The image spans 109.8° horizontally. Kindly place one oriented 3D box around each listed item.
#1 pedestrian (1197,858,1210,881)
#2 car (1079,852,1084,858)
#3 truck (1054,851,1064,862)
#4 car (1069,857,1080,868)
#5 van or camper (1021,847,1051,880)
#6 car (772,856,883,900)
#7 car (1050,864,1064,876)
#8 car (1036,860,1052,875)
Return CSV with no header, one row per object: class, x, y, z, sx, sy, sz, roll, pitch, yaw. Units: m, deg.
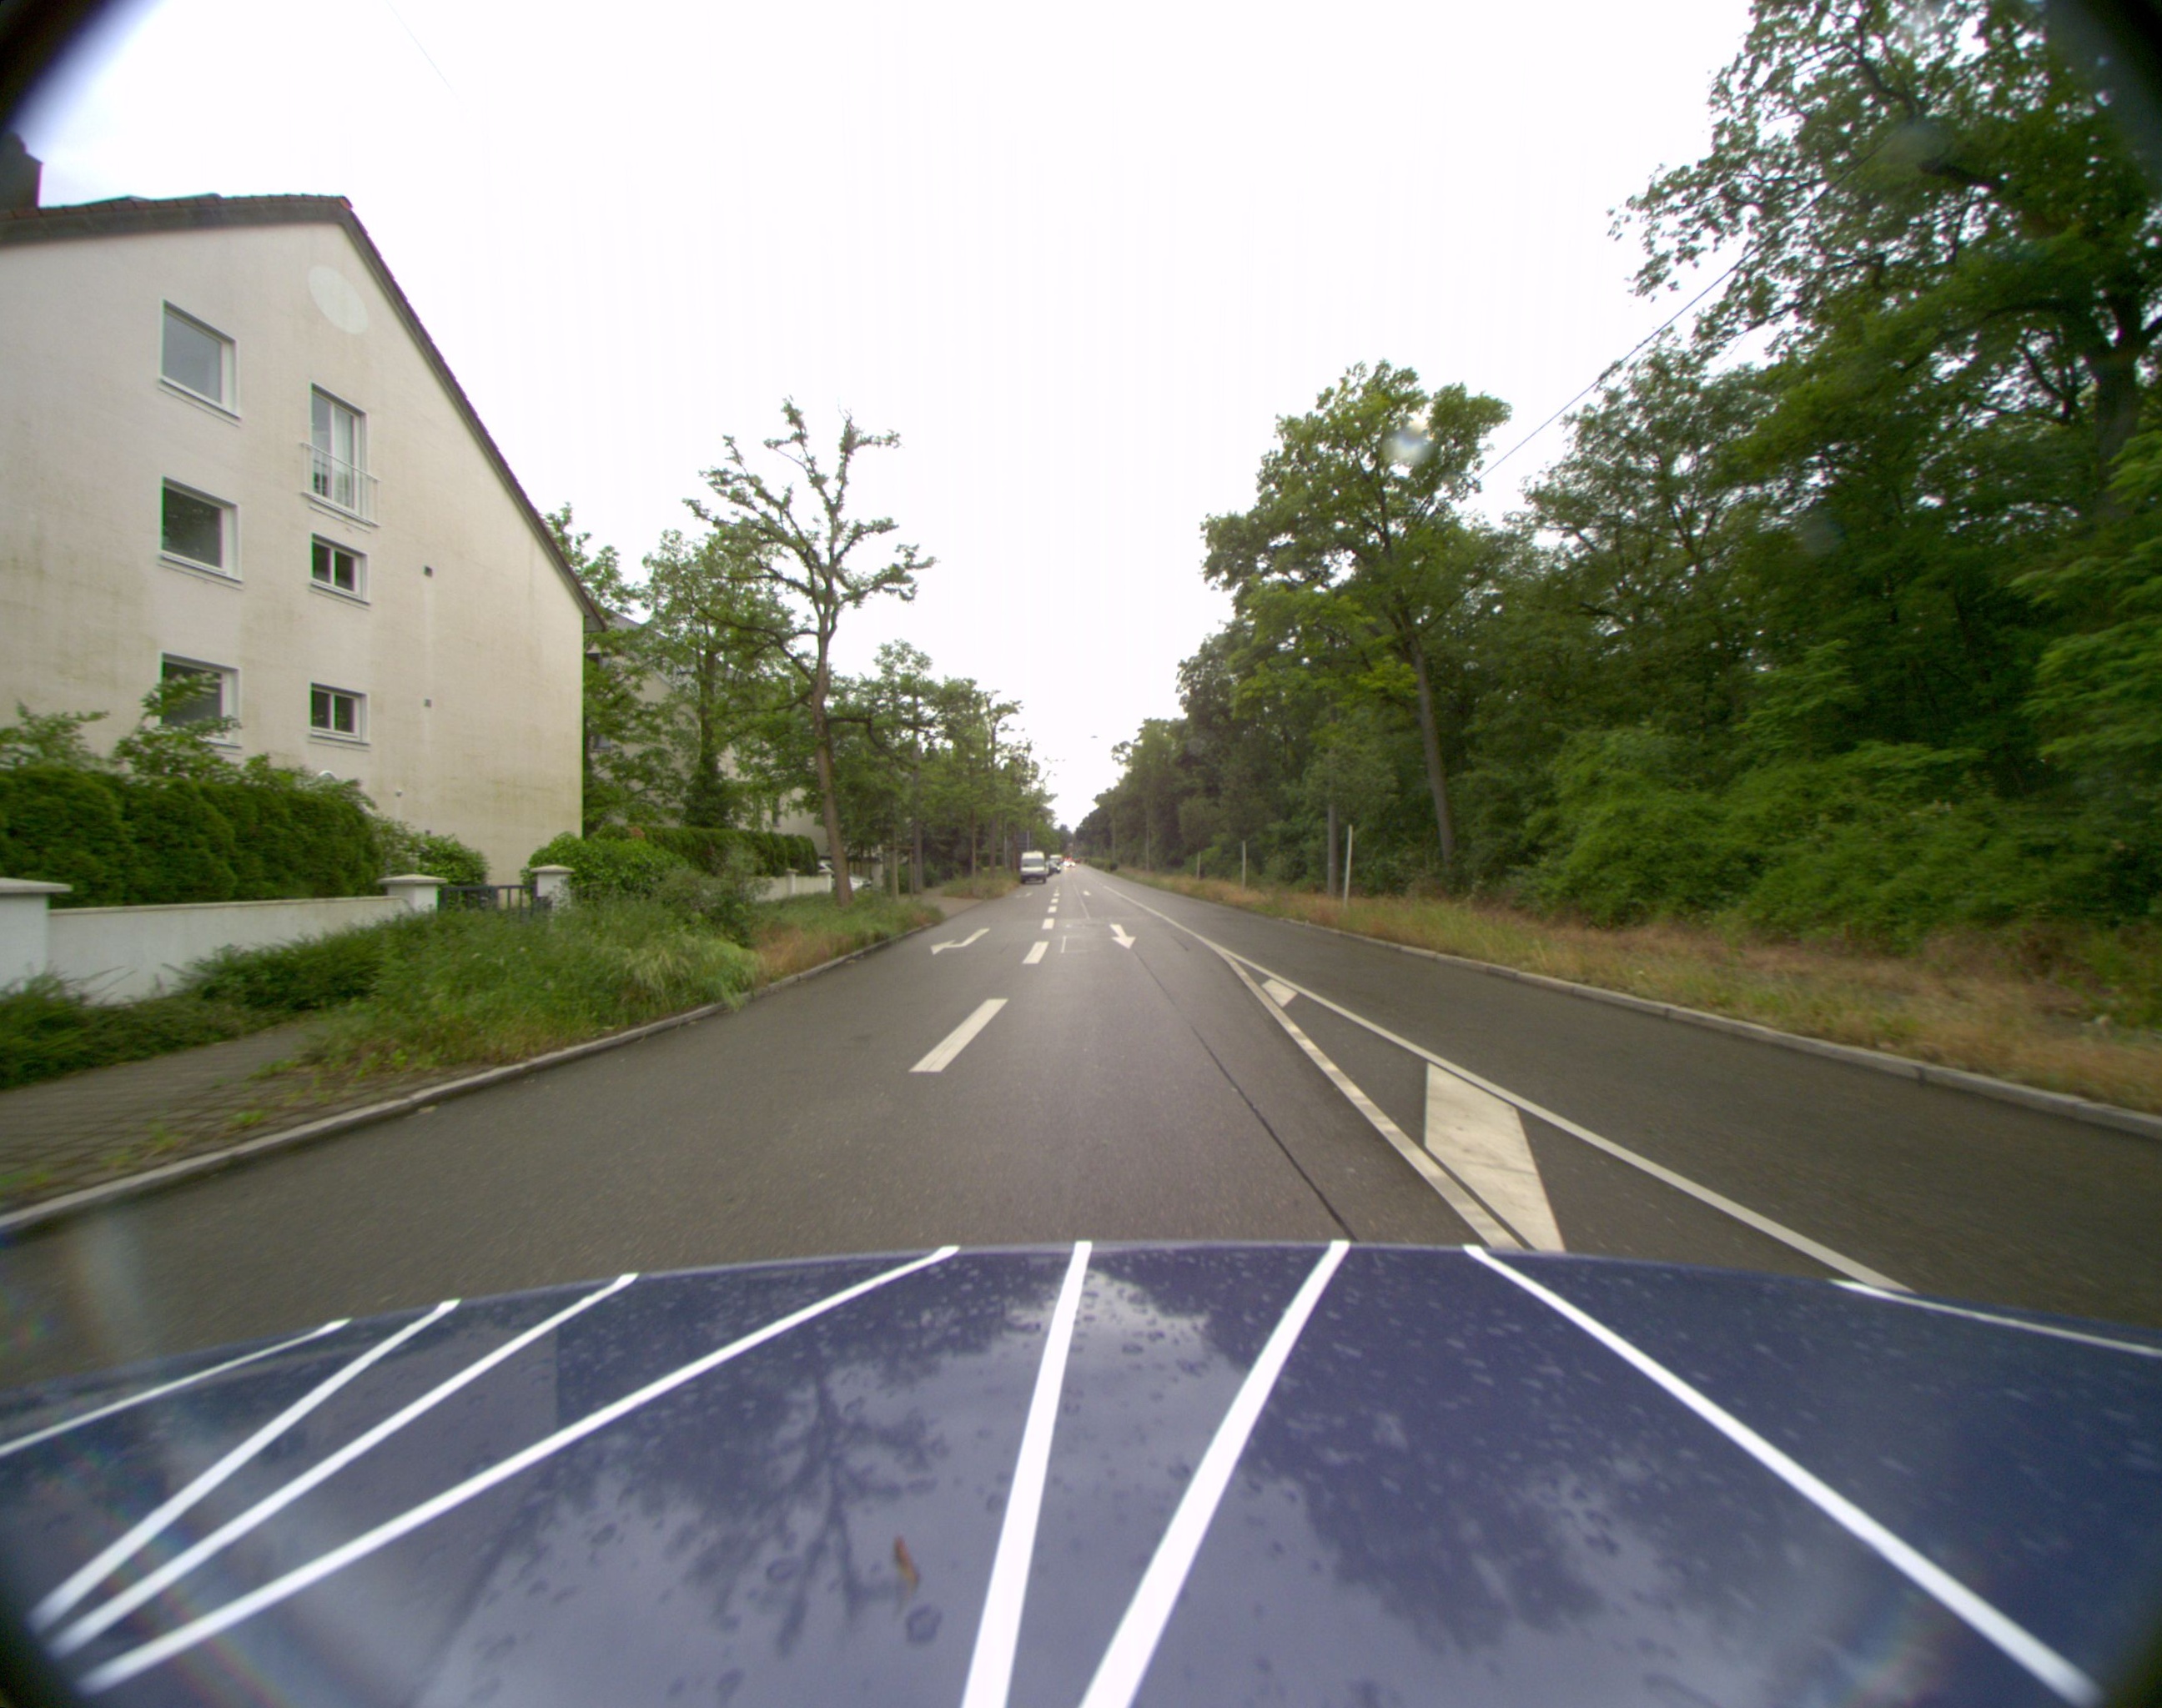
pedestrian,8.614,1.056,53.491,0.783,1.598,0.732,0,0,-2
car,0.162,0.283,239.204,1.681,1.608,4.061,1,0,-2
truck,-5.085,0.555,171.793,2.230,2.321,5.112,1,0,-2
car,-1.312,1.740,151.599,1.998,2.002,3.999,-1,1,1
van or camper,-3.587,0.722,61.681,2.042,2.465,5.637,-3,0,-1
car,-11.306,1.066,34.001,4.312,1.807,1.876,-2,0,10
car,-3.084,2.017,97.428,1.622,1.459,4.409,-2,0,-2
car,-3.901,1.380,80.813,1.576,1.463,3.764,-2,0,-1
